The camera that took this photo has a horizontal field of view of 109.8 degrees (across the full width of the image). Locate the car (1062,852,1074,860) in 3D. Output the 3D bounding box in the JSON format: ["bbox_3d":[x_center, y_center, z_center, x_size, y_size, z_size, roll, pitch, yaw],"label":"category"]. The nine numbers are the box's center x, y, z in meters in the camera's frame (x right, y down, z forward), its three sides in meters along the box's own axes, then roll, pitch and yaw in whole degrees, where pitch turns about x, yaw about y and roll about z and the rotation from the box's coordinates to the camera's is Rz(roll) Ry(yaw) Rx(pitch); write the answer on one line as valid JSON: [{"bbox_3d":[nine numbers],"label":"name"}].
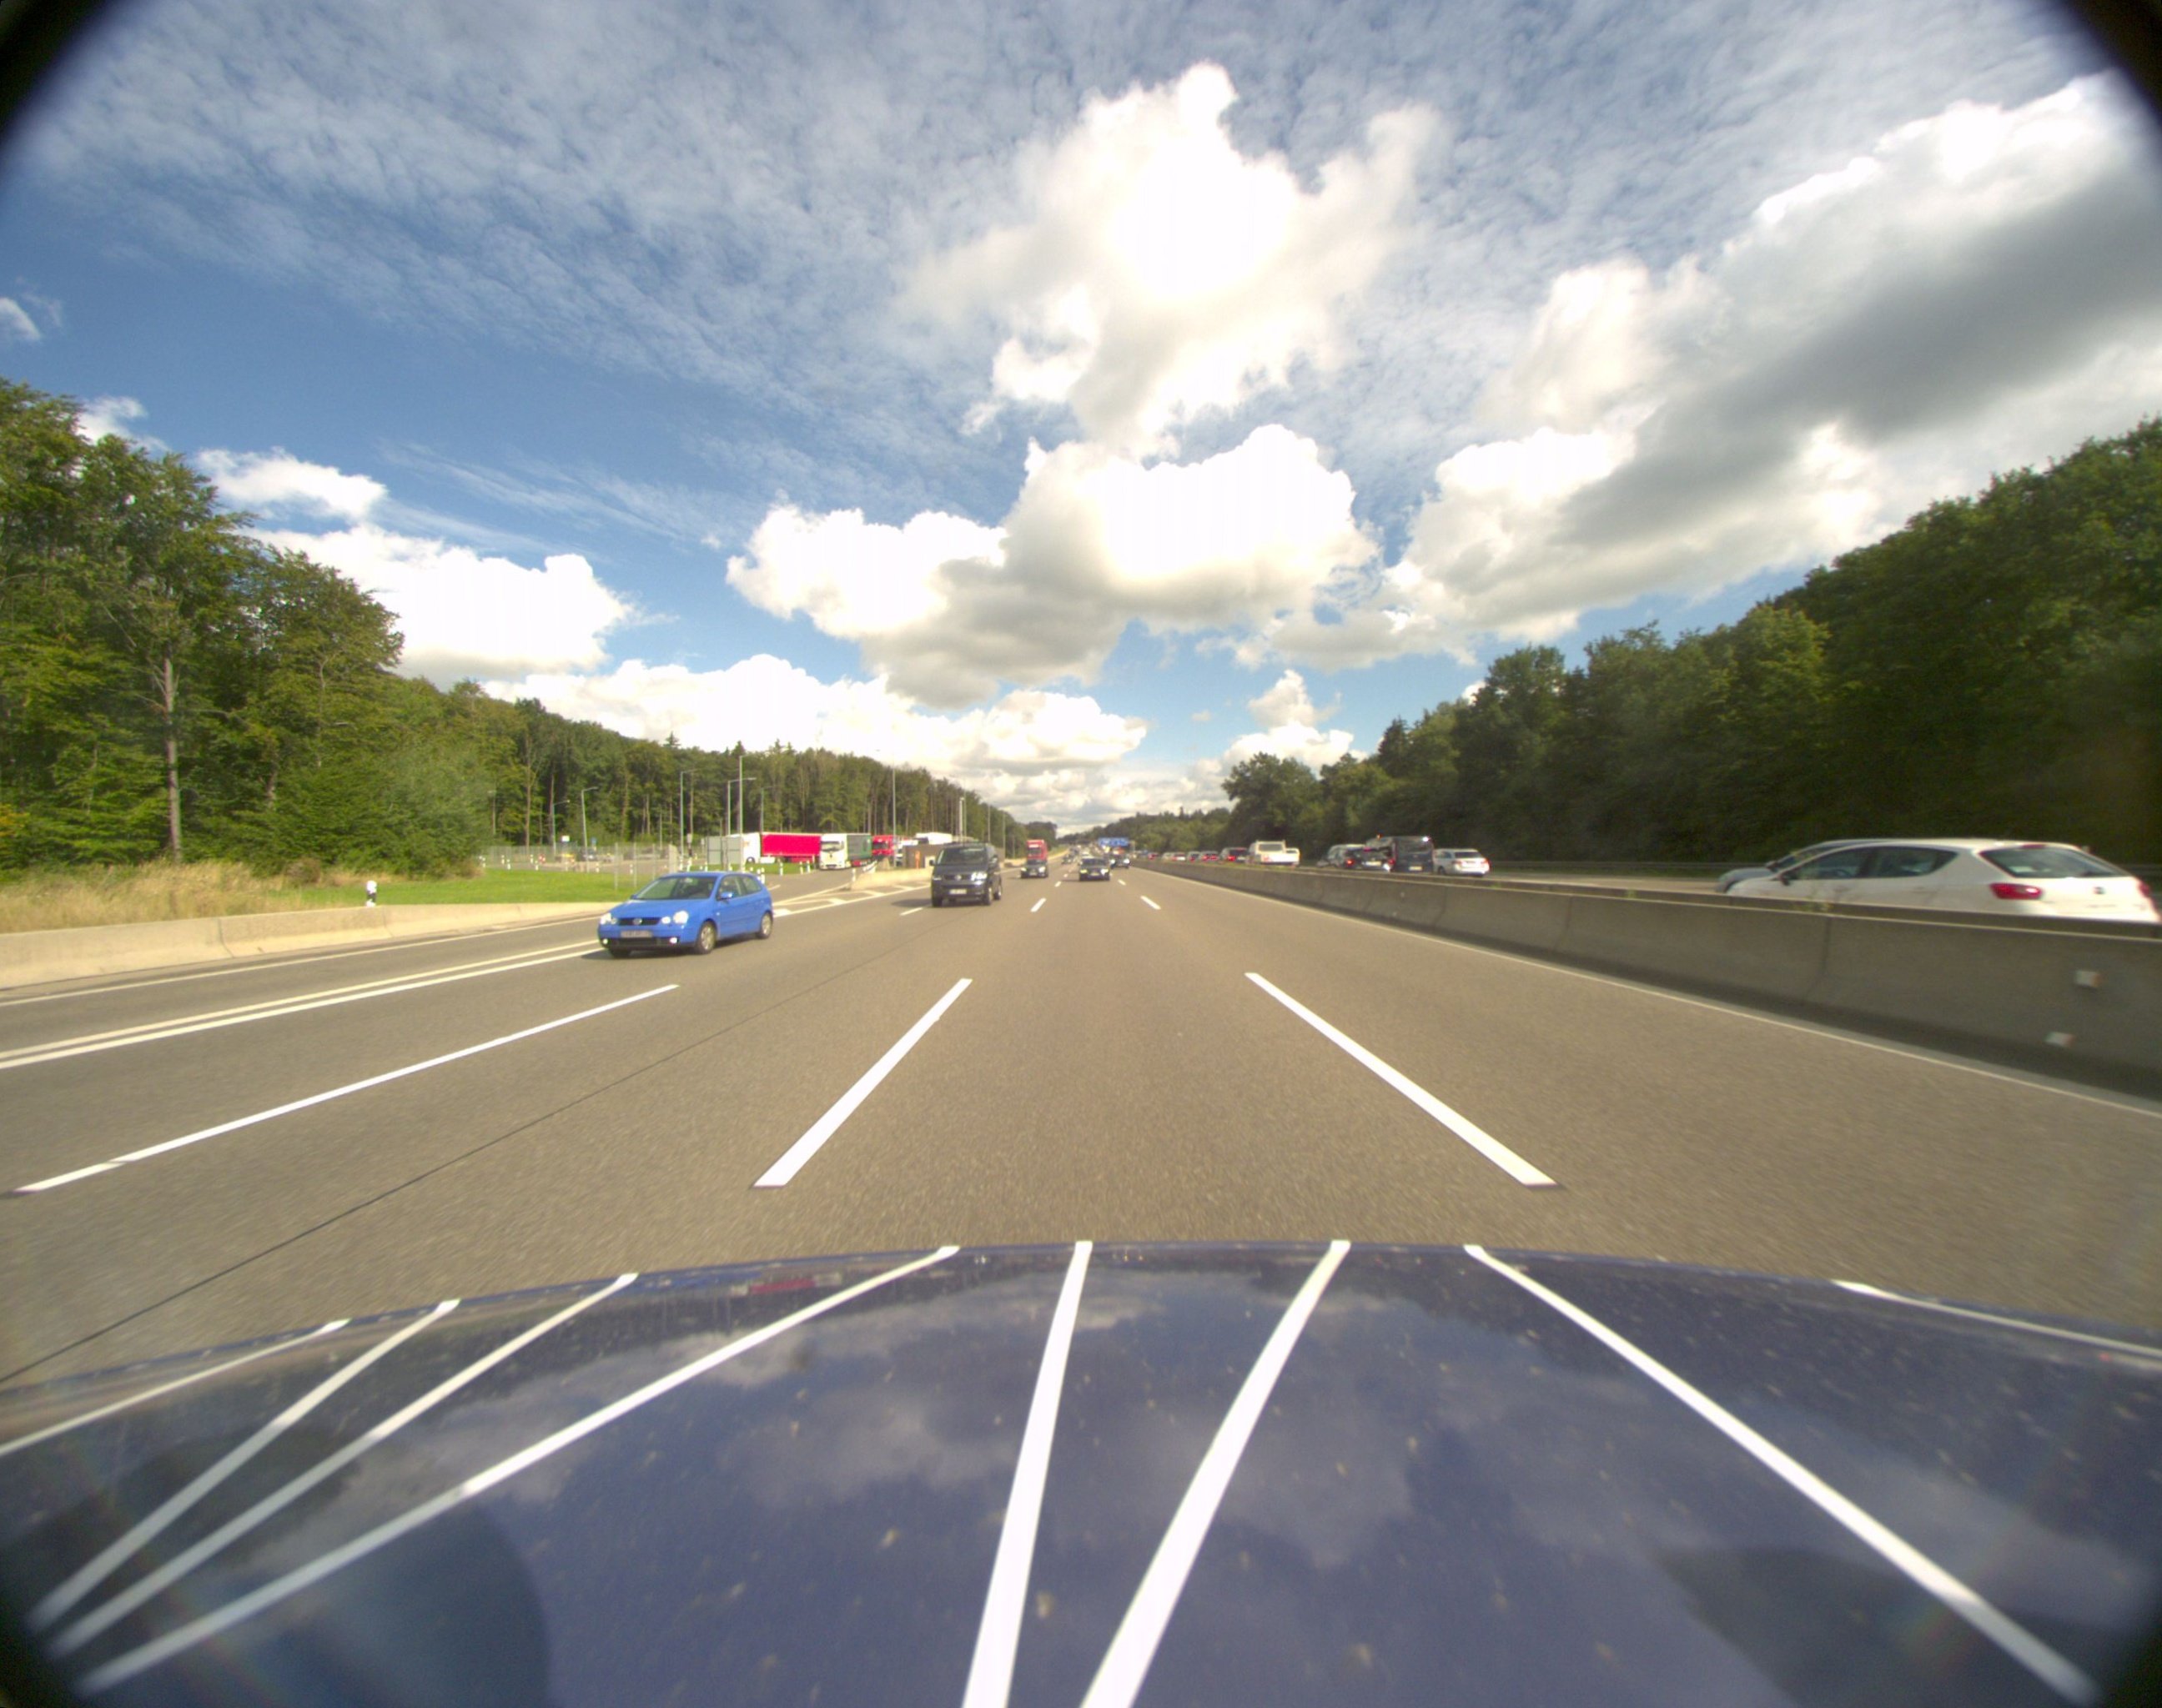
[{"bbox_3d":[-2.469,0.370,146.320,2.153,1.540,4.677,-2,0,0],"label":"car"}]

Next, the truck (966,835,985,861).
[{"bbox_3d":[-20.081,-1.189,145.462,2.661,4.896,6.968,0,0,0],"label":"truck"}]

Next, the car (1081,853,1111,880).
[{"bbox_3d":[0.915,0.717,46.269,1.733,1.500,4.728,-2,0,1],"label":"car"}]

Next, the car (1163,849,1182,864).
[{"bbox_3d":[10.420,0.283,86.445,1.665,1.608,4.000,-1,0,0],"label":"car"}]

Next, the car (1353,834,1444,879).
[{"bbox_3d":[14.042,0.098,33.966,1.998,1.794,5.125,-1,0,1],"label":"car"}]

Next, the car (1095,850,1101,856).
[{"bbox_3d":[5.701,-0.265,249.724,1.892,1.783,4.000,-1,0,0],"label":"car"}]

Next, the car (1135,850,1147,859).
[{"bbox_3d":[10.598,0.076,134.133,1.698,1.543,4.000,-1,0,0],"label":"car"}]

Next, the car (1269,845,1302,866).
[{"bbox_3d":[18.805,0.122,70.153,1.851,1.789,4.550,0,0,0],"label":"car"}]

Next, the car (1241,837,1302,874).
[{"bbox_3d":[10.899,0.079,43.879,2.164,2.002,5.822,0,0,1],"label":"car"}]

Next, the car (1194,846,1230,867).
[{"bbox_3d":[10.580,0.184,61.687,2.176,1.608,4.550,0,0,0],"label":"car"}]

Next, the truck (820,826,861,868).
[{"bbox_3d":[-26.559,-0.776,84.343,2.880,4.481,7.173,0,0,-6],"label":"truck"}]

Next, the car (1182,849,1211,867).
[{"bbox_3d":[10.605,0.346,70.198,1.998,1.608,4.550,-1,0,0],"label":"car"}]

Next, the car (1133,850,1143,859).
[{"bbox_3d":[10.956,0.094,145.959,1.634,1.543,4.000,-1,0,0],"label":"car"}]

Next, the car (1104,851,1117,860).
[{"bbox_3d":[4.992,0.289,129.647,2.153,1.540,4.677,-1,0,0],"label":"car"}]

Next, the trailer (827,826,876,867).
[{"bbox_3d":[-27.315,-0.838,91.084,2.880,4.480,12.996,0,0,-4],"label":"trailer"}]

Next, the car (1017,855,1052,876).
[{"bbox_3d":[-3.334,0.819,55.654,2.153,1.426,5.099,-1,0,0],"label":"car"}]

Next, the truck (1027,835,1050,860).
[{"bbox_3d":[-6.674,-1.012,120.158,3.017,3.662,7.561,-1,0,1],"label":"truck"}]

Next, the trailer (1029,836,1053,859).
[{"bbox_3d":[-6.600,-1.068,126.515,3.017,3.662,13.575,-1,0,1],"label":"trailer"}]

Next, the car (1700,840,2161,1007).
[{"bbox_3d":[10.427,0.669,9.518,1.917,1.631,4.242,0,0,0],"label":"car"}]

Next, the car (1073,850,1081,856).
[{"bbox_3d":[-1.168,-0.238,212.373,2.153,1.540,4.677,-2,0,0],"label":"car"}]

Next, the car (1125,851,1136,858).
[{"bbox_3d":[10.317,0.067,157.480,1.998,1.543,4.000,-1,0,0],"label":"car"}]

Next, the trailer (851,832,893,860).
[{"bbox_3d":[-31.956,-1.238,116.913,2.999,4.001,12.076,-2,1,0],"label":"trailer"}]

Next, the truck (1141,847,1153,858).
[{"bbox_3d":[15.238,-0.355,176.639,2.368,2.444,5.239,0,0,0],"label":"truck"}]

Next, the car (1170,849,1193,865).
[{"bbox_3d":[10.384,0.327,78.684,1.746,1.608,4.550,-1,0,0],"label":"car"}]

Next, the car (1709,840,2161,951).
[{"bbox_3d":[13.739,0.552,12.874,1.998,1.476,5.131,-1,0,1],"label":"car"}]

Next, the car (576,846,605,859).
[{"bbox_3d":[-62.637,-0.184,97.037,3.988,1.674,1.962,0,0,39],"label":"car"}]

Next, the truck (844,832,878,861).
[{"bbox_3d":[-31.950,-1.162,110.789,2.982,4.001,6.254,-2,1,0],"label":"truck"}]

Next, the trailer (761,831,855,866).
[{"bbox_3d":[-35.712,-0.833,99.903,11.406,4.348,2.838,-2,1,-43],"label":"trailer"}]

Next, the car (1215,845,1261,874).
[{"bbox_3d":[11.055,0.346,53.956,2.176,1.936,5.395,-1,0,0],"label":"car"}]

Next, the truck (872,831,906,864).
[{"bbox_3d":[-27.328,-0.954,108.596,2.878,4.481,7.036,-1,0,0],"label":"truck"}]

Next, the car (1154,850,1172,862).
[{"bbox_3d":[11.193,0.243,103.863,1.998,1.543,4.000,-1,0,0],"label":"car"}]

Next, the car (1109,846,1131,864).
[{"bbox_3d":[4.210,0.086,82.107,2.153,1.800,5.099,-2,1,1],"label":"car"}]

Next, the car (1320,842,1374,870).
[{"bbox_3d":[18.499,0.118,53.089,1.955,1.841,5.341,-1,0,0],"label":"car"}]

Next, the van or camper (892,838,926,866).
[{"bbox_3d":[-20.334,-0.263,90.088,2.393,3.179,4.744,-1,0,6],"label":"van or camper"}]

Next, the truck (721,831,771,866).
[{"bbox_3d":[-43.216,-0.719,98.124,5.132,4.482,2.889,-1,1,-44],"label":"truck"}]

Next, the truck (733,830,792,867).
[{"bbox_3d":[-40.096,-0.764,95.797,6.109,4.481,2.873,-2,1,-43],"label":"truck"}]

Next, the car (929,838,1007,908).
[{"bbox_3d":[-3.750,0.579,26.028,1.854,2.097,4.932,-2,0,0],"label":"car"}]

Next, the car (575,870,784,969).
[{"bbox_3d":[-7.196,1.095,14.137,1.654,1.433,4.000,-2,0,1],"label":"car"}]

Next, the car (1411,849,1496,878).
[{"bbox_3d":[17.719,0.430,36.376,1.869,1.294,4.550,0,0,0],"label":"car"}]

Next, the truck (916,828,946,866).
[{"bbox_3d":[-20.317,-0.939,103.141,2.661,4.896,6.985,0,0,0],"label":"truck"}]

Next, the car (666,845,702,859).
[{"bbox_3d":[-56.399,-0.258,107.967,3.997,1.904,2.000,-1,0,-1],"label":"car"}]

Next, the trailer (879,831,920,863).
[{"bbox_3d":[-27.339,-1.032,115.245,2.879,4.480,13.691,-1,0,0],"label":"trailer"}]

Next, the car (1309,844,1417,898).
[{"bbox_3d":[10.193,0.571,27.939,2.176,1.790,4.876,-1,0,0],"label":"car"}]

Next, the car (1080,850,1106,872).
[{"bbox_3d":[1.054,0.607,68.085,2.153,1.800,5.098,-2,1,0],"label":"car"}]

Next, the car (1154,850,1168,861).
[{"bbox_3d":[11.871,0.198,112.712,1.642,1.543,4.000,-1,0,0],"label":"car"}]
